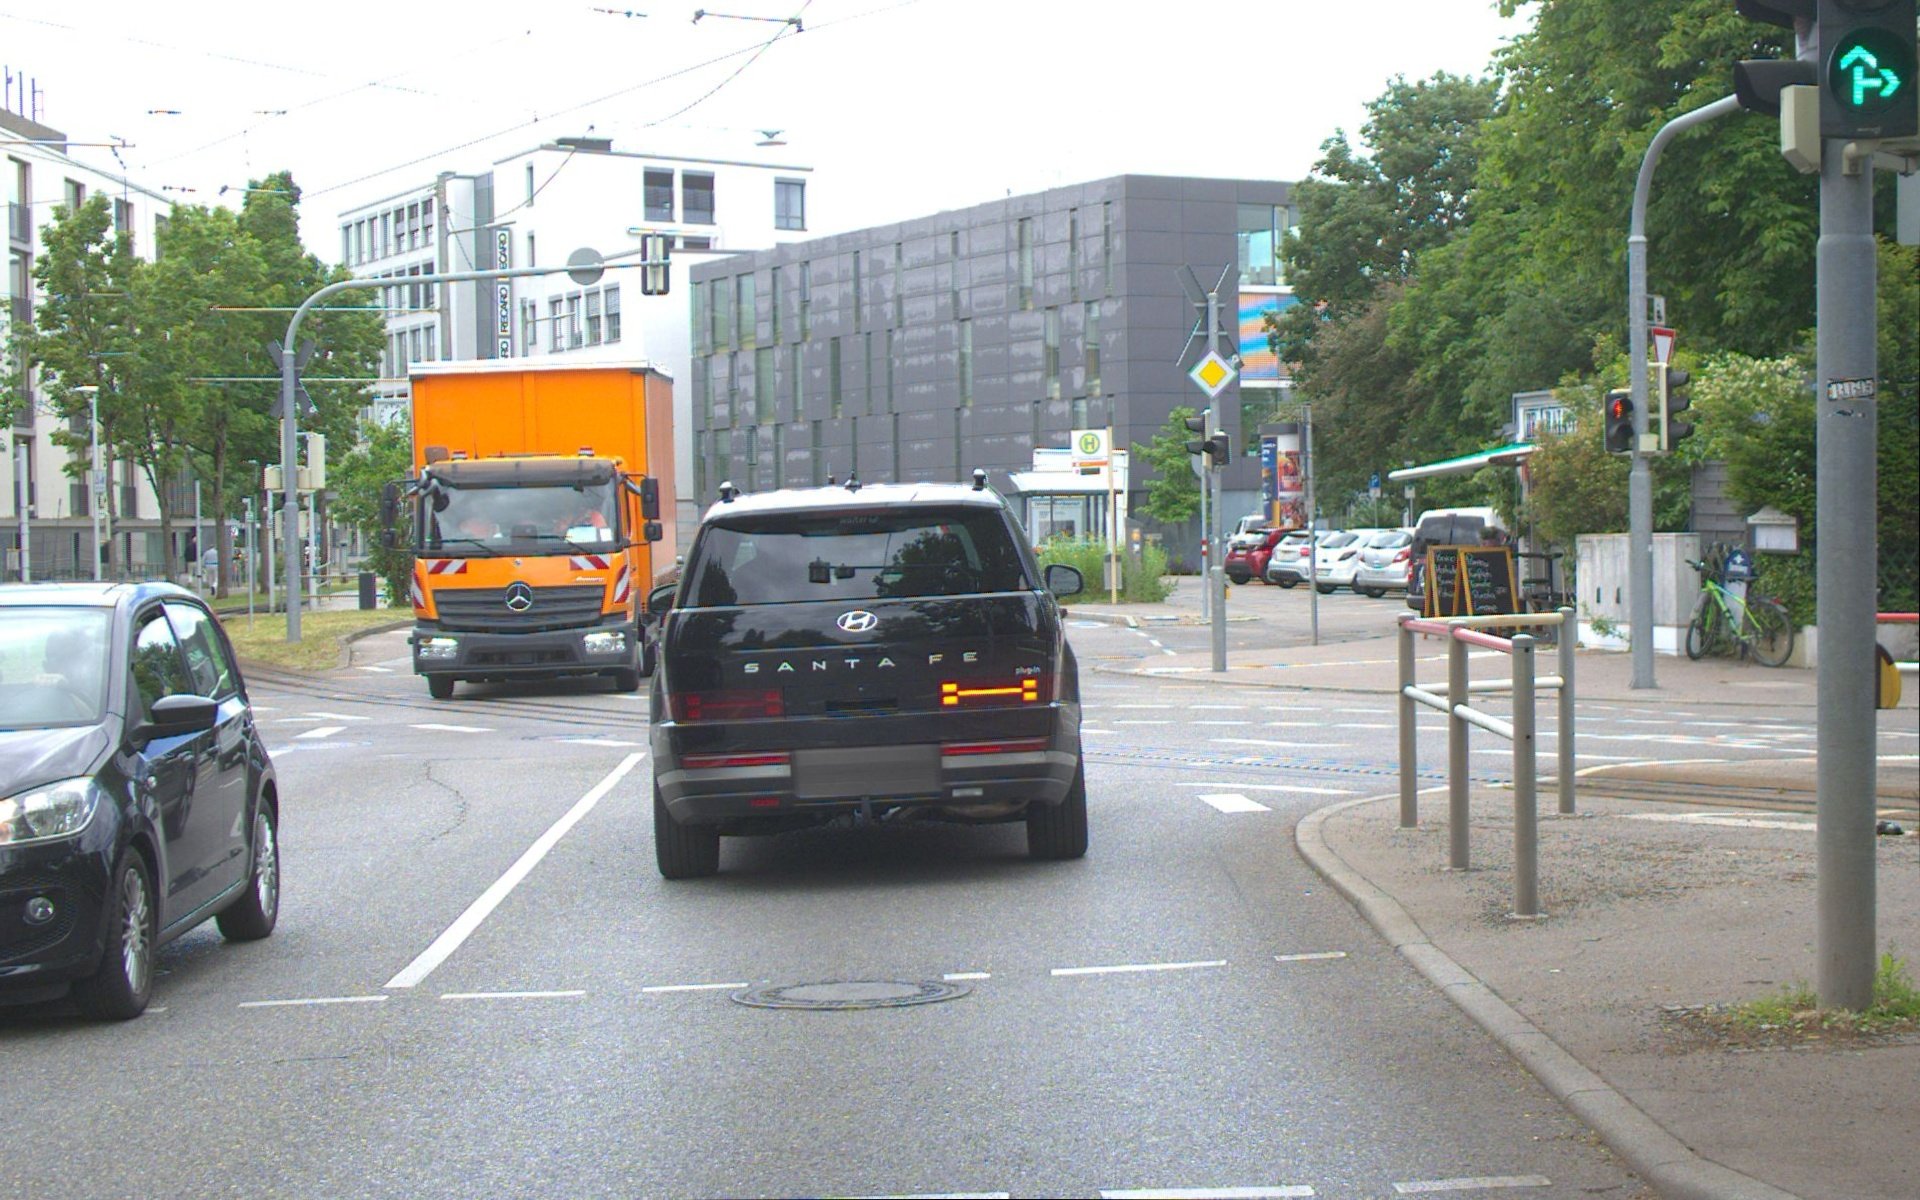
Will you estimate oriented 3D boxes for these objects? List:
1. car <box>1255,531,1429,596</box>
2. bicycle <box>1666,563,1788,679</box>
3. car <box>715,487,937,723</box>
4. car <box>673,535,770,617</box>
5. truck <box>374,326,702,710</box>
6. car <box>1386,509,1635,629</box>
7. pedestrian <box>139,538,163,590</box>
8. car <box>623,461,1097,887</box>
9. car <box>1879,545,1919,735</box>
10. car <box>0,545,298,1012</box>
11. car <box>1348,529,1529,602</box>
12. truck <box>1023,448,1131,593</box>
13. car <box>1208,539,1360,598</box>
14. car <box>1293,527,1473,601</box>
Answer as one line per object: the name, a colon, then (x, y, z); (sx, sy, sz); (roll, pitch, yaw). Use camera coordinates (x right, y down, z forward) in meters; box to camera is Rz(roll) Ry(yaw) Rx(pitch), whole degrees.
car: (9.129, -0.854, 82.176); (3.791, 1.468, 1.798); (1, 0, -31)
bicycle: (8.498, 0.215, 38.144); (0.548, 1.135, 1.879); (-1, 4, -13)
car: (-1.329, -0.010, 32.296); (1.855, 2.026, 4.438); (-1, 1, -5)
car: (-5.102, -0.542, 73.920); (1.788, 1.656, 4.277); (-2, 1, -1)
truck: (-4.563, -0.881, 38.871); (2.769, 3.706, 8.470); (-3, 1, -2)
car: (8.674, -0.510, 53.891); (1.849, 1.742, 4.685); (0, 2, 37)
pedestrian: (-26.333, -1.158, 111.930); (0.613, 1.689, 0.785); (0, 0, -1)
car: (-0.516, 0.265, 16.110); (1.915, 1.719, 4.171); (1, 1, -3)
car: (9.647, 0.304, 26.557); (4.503, 1.458, 2.001); (0, 1, -11)
car: (-3.581, 0.536, 12.537); (1.663, 1.444, 3.828); (-1, 1, -1)
car: (9.925, -0.730, 71.246); (3.505, 1.373, 1.547); (-2, 3, -31)
truck: (2.955, -2.029, 88.455); (2.573, 3.513, 7.810); (-1, 1, 1)
car: (8.235, -0.791, 87.304); (3.491, 1.450, 1.681); (0, 0, -28)
car: (9.370, -0.792, 76.121); (3.638, 1.430, 1.592); (-3, 0, -27)
